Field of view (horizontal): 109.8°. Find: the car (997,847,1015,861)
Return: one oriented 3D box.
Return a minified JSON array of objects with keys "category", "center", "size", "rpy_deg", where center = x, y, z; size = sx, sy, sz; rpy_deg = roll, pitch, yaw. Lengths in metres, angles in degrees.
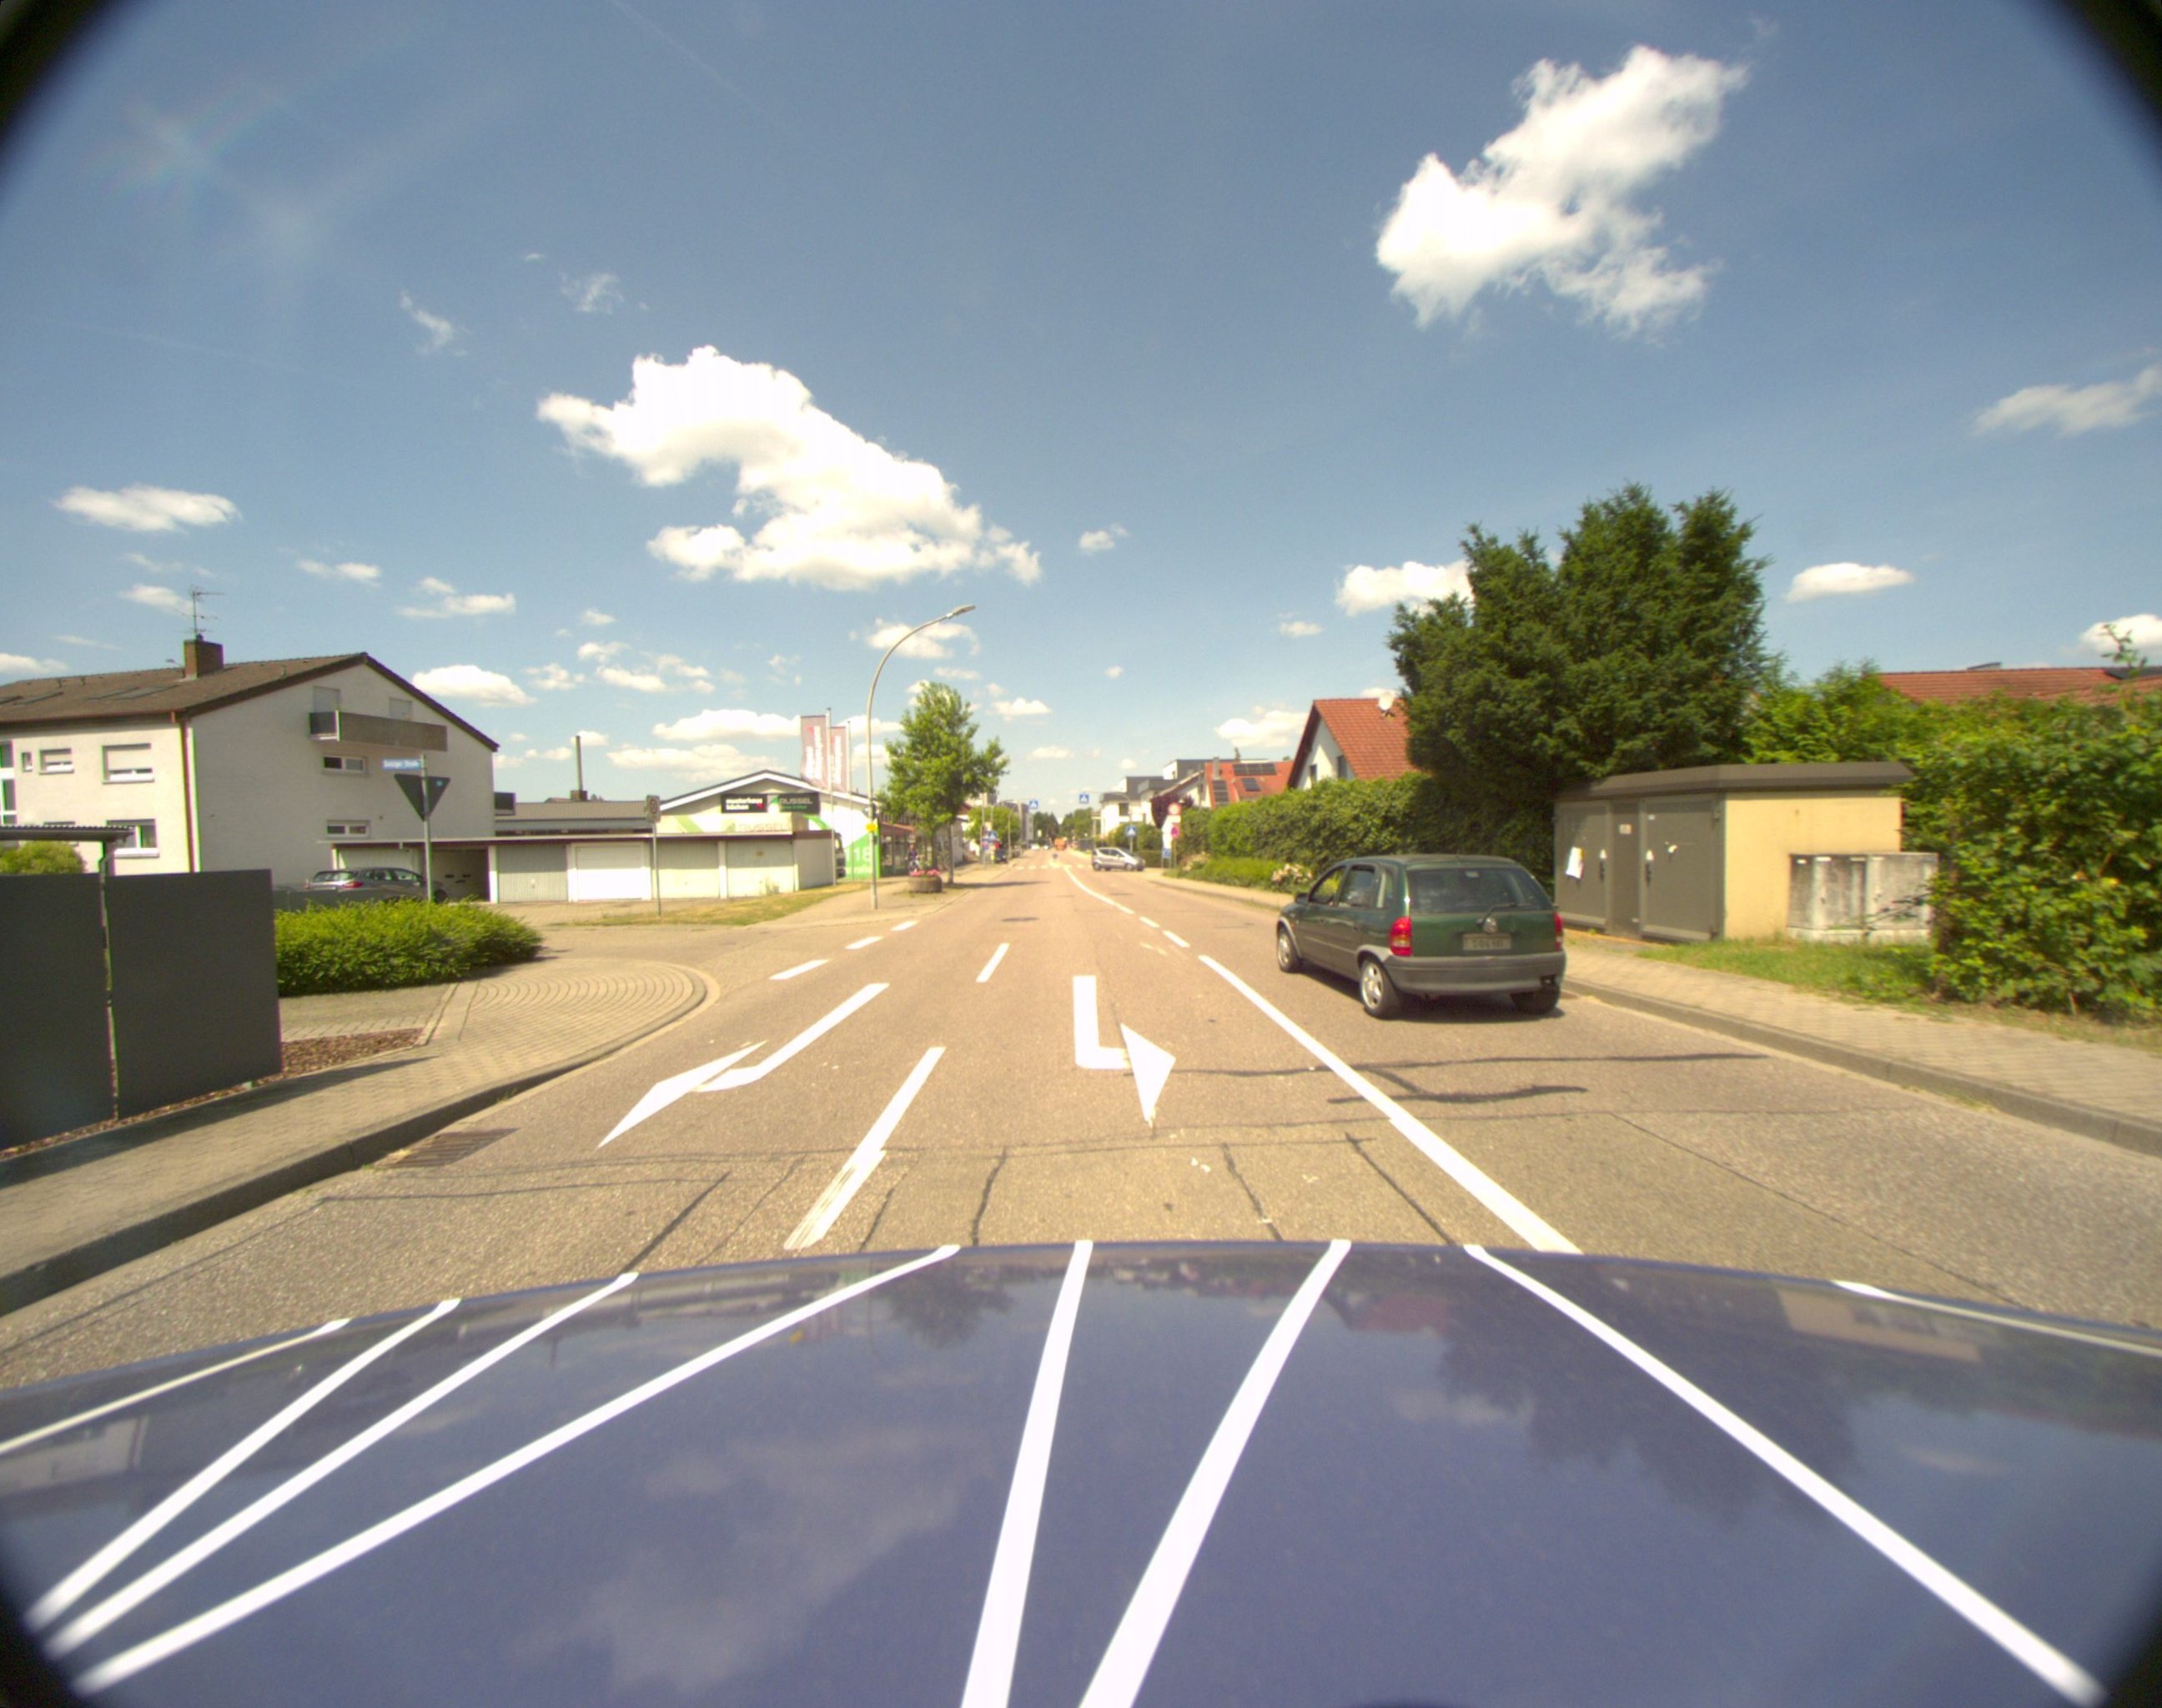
[{"category":"car","center":[-7.962,-0.006,80.827],"size":[1.730,1.484,3.758],"rpy_deg":[0,1,-3]}]

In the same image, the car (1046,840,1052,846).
[{"category":"car","center":[-8.209,-2.874,194.966],"size":[1.729,1.484,3.758],"rpy_deg":[0,1,-2]}]

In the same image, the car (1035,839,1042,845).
[{"category":"car","center":[-10.666,-2.930,191.385],"size":[1.729,1.484,3.758],"rpy_deg":[0,1,-2]}]

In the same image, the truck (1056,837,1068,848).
[{"category":"truck","center":[-4.911,-2.999,195.594],"size":[2.865,2.695,6.787],"rpy_deg":[0,2,-3]}]

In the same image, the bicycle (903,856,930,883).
[{"category":"bicycle","center":[-7.543,0.695,34.894],"size":[0.805,1.158,1.942],"rpy_deg":[-5,1,-3]}]

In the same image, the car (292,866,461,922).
[{"category":"car","center":[-22.967,1.240,25.029],"size":[1.679,1.494,4.130],"rpy_deg":[-2,1,-1]}]

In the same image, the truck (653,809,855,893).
[{"category":"truck","center":[-15.283,-0.197,36.013],"size":[8.193,3.553,2.676],"rpy_deg":[-2,3,-3]}]

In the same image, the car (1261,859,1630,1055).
[{"category":"car","center":[3.258,0.797,7.756],"size":[1.785,1.425,3.870],"rpy_deg":[0,1,-3]}]

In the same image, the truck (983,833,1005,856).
[{"category":"truck","center":[-10.973,-1.222,95.816],"size":[2.581,2.746,6.328],"rpy_deg":[0,1,-8]}]

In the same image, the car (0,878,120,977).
[{"category":"car","center":[-18.980,1.248,12.198],"size":[1.741,1.639,4.216],"rpy_deg":[-1,-1,1]}]

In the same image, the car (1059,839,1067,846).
[{"category":"car","center":[-4.167,-2.650,177.281],"size":[1.799,1.480,3.611],"rpy_deg":[0,1,-3]}]

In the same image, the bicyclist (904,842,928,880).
[{"category":"bicyclist","center":[-7.554,0.313,34.812],"size":[0.805,1.620,1.111],"rpy_deg":[-5,1,-3]}]

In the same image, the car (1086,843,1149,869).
[{"category":"car","center":[2.437,0.136,50.453],"size":[3.750,1.590,1.727],"rpy_deg":[-2,0,30]}]
